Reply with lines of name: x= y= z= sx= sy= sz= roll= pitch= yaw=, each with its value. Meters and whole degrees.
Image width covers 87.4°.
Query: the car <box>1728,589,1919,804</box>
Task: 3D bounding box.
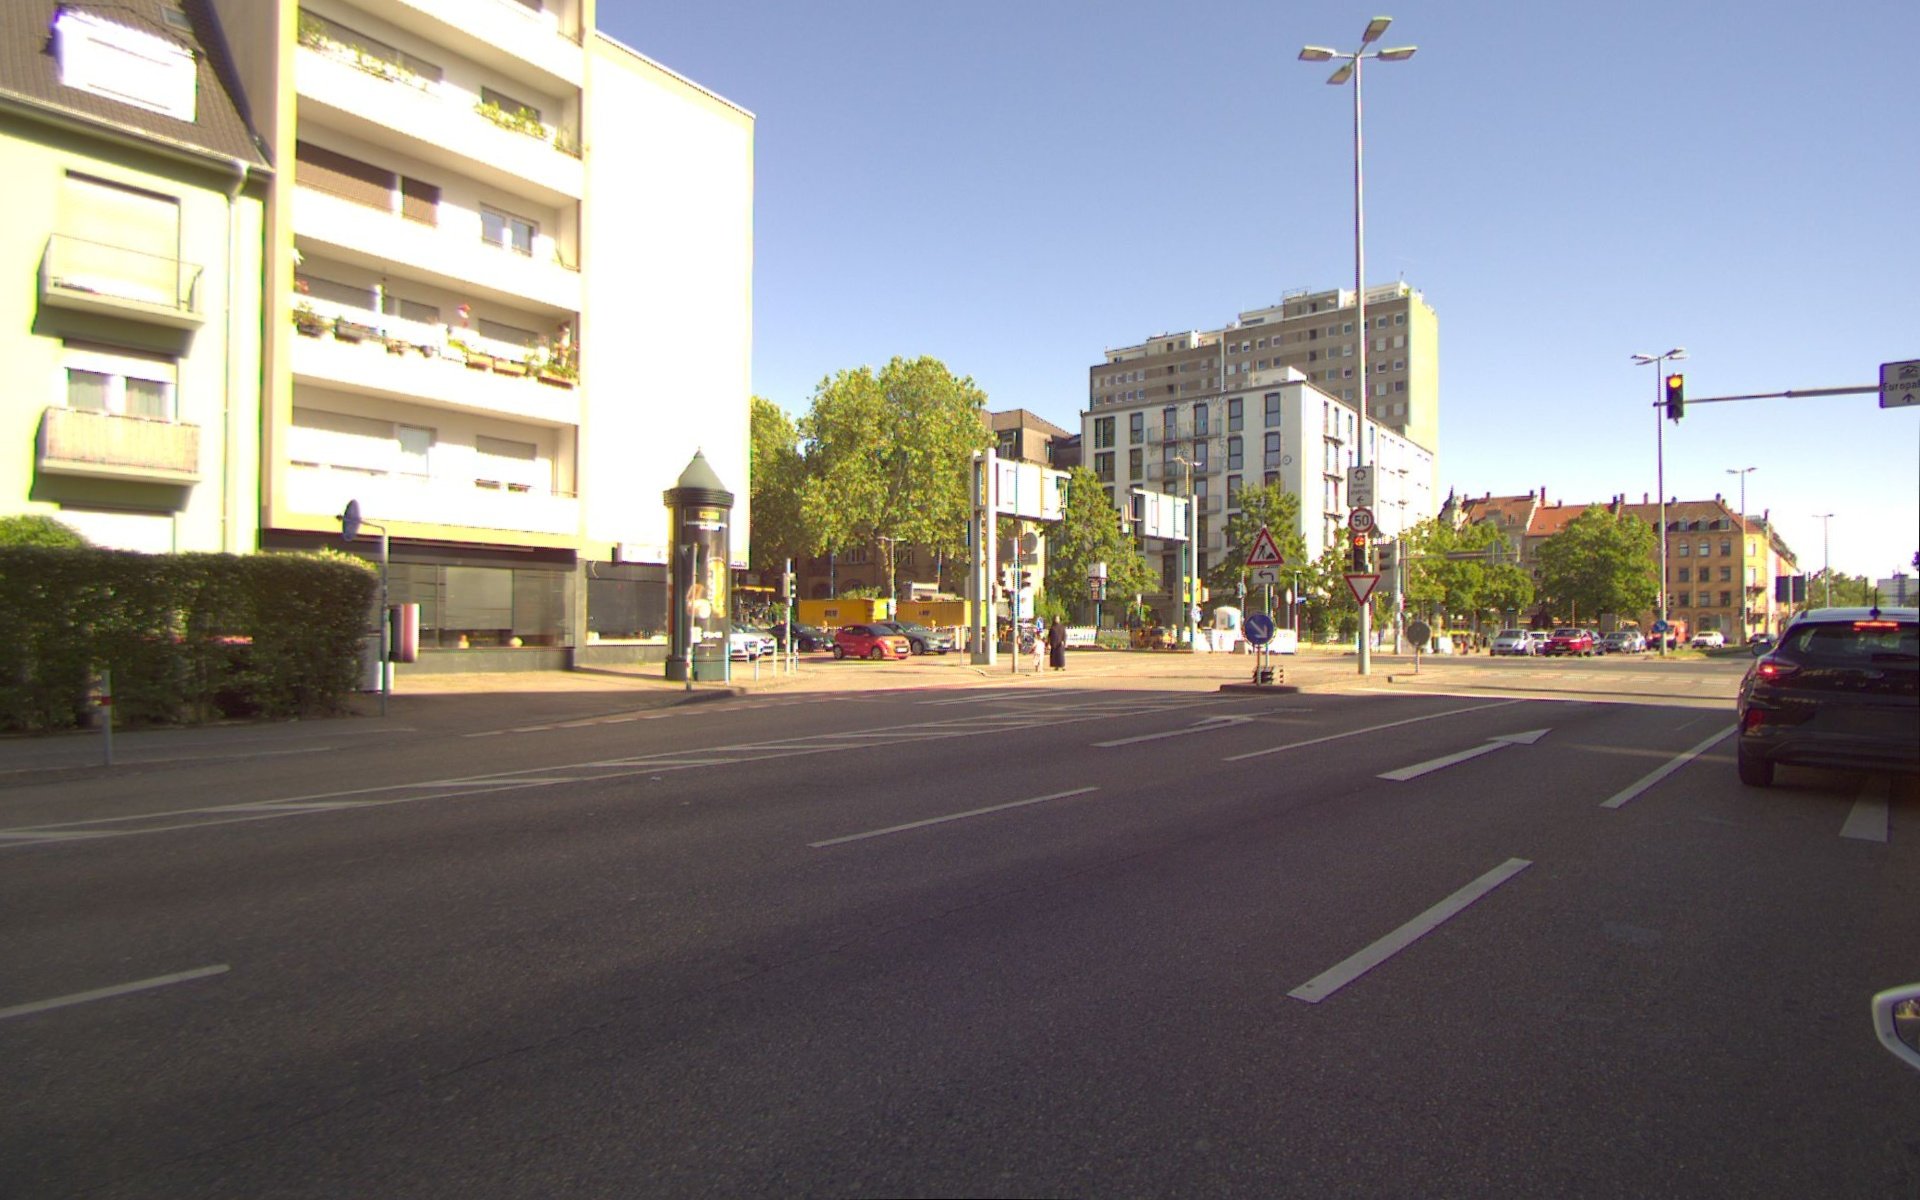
car: x=8.271 y=0.747 z=9.008 sx=1.811 sy=1.599 sz=3.817 roll=-2 pitch=-2 yaw=43

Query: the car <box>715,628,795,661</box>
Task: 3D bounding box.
car: x=-9.574 y=2.060 z=46.844 sx=3.596 sy=1.474 sz=1.837 roll=-2 pitch=-2 yaw=40

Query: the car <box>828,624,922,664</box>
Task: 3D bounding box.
car: x=-3.489 y=1.785 z=41.021 sx=3.596 sy=1.535 sz=1.837 roll=-2 pitch=-2 yaw=40

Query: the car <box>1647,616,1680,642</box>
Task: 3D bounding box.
car: x=59.353 y=2.405 z=84.717 sx=1.791 sy=2.163 sz=3.977 roll=-1 pitch=-2 yaw=43

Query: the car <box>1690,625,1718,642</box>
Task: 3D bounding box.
car: x=72.701 y=3.257 z=98.108 sx=1.791 sy=1.655 sz=3.977 roll=-1 pitch=-2 yaw=43

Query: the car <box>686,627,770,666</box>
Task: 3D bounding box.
car: x=-9.713 y=1.930 z=41.926 sx=3.597 sy=1.535 sz=1.606 roll=-2 pitch=-2 yaw=41

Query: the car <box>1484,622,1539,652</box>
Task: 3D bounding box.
car: x=31.913 y=2.127 z=58.079 sx=1.854 sy=1.638 sz=3.977 roll=-1 pitch=-2 yaw=43

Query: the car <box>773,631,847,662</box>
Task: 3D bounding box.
car: x=-7.618 y=2.348 z=50.971 sx=3.596 sy=1.474 sz=1.837 roll=-2 pitch=-2 yaw=40

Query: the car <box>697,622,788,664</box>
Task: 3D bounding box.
car: x=-8.331 y=1.622 z=38.343 sx=3.597 sy=1.535 sz=1.606 roll=-2 pitch=-2 yaw=41

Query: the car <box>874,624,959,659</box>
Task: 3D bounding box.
car: x=-2.020 y=1.873 z=45.877 sx=3.596 sy=1.535 sz=1.837 roll=-2 pitch=-2 yaw=40

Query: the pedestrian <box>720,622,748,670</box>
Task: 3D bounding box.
pedestrian: x=-7.821 y=1.574 z=34.763 sx=0.786 sy=1.649 sz=0.551 roll=-1 pitch=-1 yaw=18

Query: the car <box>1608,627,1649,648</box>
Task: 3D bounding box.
car: x=47.942 y=2.681 z=71.980 sx=1.854 sy=1.467 sz=3.977 roll=-1 pitch=-2 yaw=43

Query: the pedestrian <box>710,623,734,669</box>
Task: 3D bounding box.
pedestrian: x=-8.483 y=1.622 z=35.809 sx=0.677 sy=1.631 sz=0.551 roll=-1 pitch=-1 yaw=18

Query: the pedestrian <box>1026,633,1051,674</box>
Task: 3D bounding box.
pedestrian: x=2.305 y=1.569 z=29.479 sx=0.650 sy=1.181 sz=0.677 roll=0 pitch=-1 yaw=10

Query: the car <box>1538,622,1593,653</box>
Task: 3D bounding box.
car: x=32.881 y=2.017 z=54.490 sx=1.772 sy=1.638 sz=3.977 roll=-1 pitch=-2 yaw=43

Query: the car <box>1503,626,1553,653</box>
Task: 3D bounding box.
car: x=35.502 y=2.426 z=62.782 sx=1.854 sy=1.638 sz=3.977 roll=-1 pitch=-2 yaw=43

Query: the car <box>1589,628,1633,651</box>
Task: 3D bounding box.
car: x=43.473 y=2.621 z=67.048 sx=1.854 sy=1.467 sz=3.977 roll=-1 pitch=-2 yaw=43

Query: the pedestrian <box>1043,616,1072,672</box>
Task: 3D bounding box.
pedestrian: x=2.951 y=1.314 z=30.415 sx=0.815 sy=1.671 sz=0.676 roll=0 pitch=-1 yaw=0

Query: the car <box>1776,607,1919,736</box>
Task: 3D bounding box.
car: x=12.073 y=0.851 z=13.200 sx=1.810 sy=1.472 sz=3.965 roll=-2 pitch=-2 yaw=43
